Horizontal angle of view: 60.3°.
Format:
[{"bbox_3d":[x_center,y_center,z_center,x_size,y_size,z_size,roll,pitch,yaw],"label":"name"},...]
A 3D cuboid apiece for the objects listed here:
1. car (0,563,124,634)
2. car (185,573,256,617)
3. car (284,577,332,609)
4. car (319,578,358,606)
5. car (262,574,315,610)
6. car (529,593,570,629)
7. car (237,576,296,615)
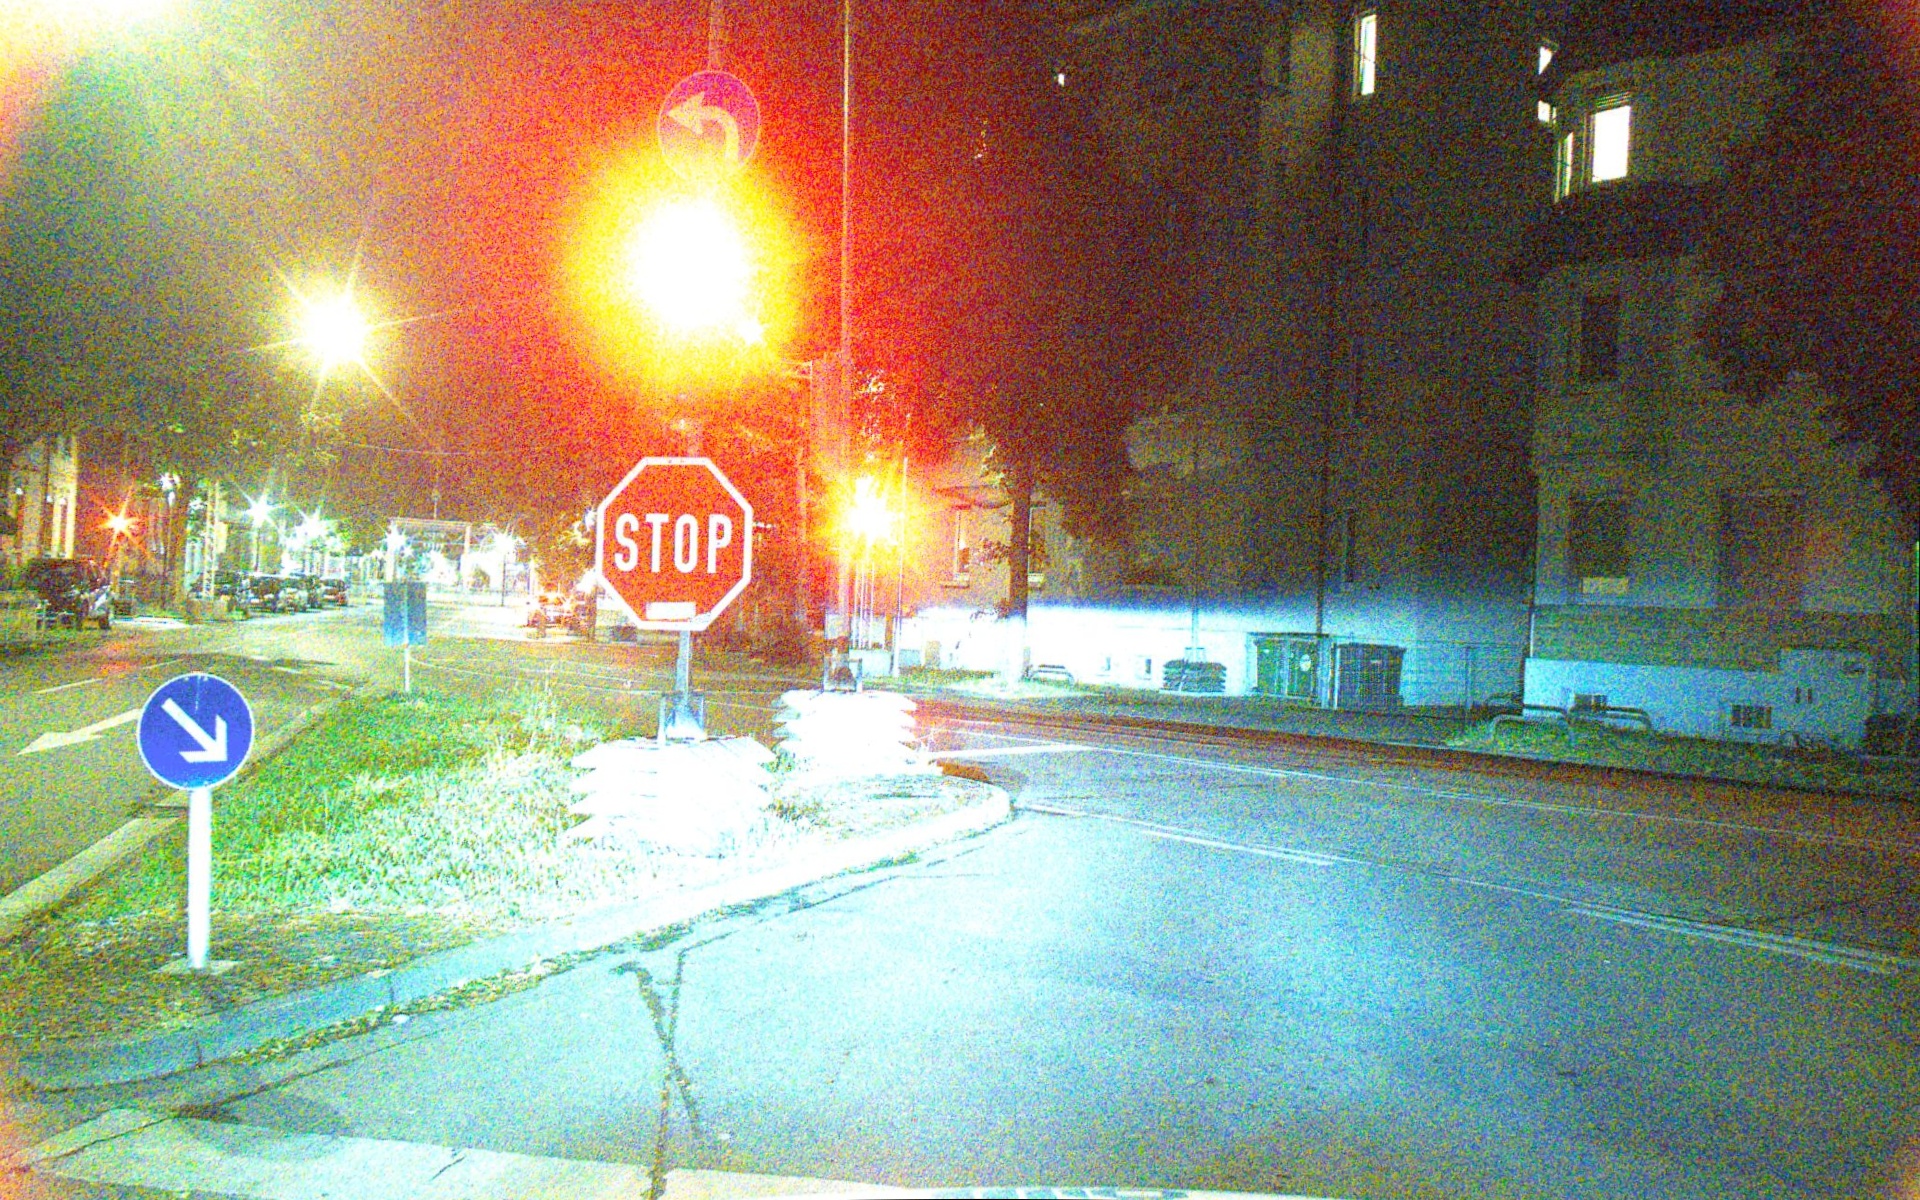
[{"bbox_3d":[-20.257,-0.033,37.364,1.624,1.456,3.983,2,0,-15],"label":"car"},{"bbox_3d":[-25.943,-0.171,58.110,1.624,1.456,3.983,2,0,-15],"label":"car"},{"bbox_3d":[-30.916,-0.330,78.519,1.624,1.456,3.983,2,0,-15],"label":"car"},{"bbox_3d":[-34.446,-0.454,91.737,1.624,1.456,3.983,2,0,-15],"label":"car"},{"bbox_3d":[-29.234,-0.332,72.092,1.624,1.456,3.983,2,0,-15],"label":"car"},{"bbox_3d":[-17.789,0.447,71.614,1.623,1.456,3.985,2,0,-14],"label":"car"},{"bbox_3d":[-27.674,-0.197,66.088,1.624,1.456,3.983,2,0,-15],"label":"car"}]
